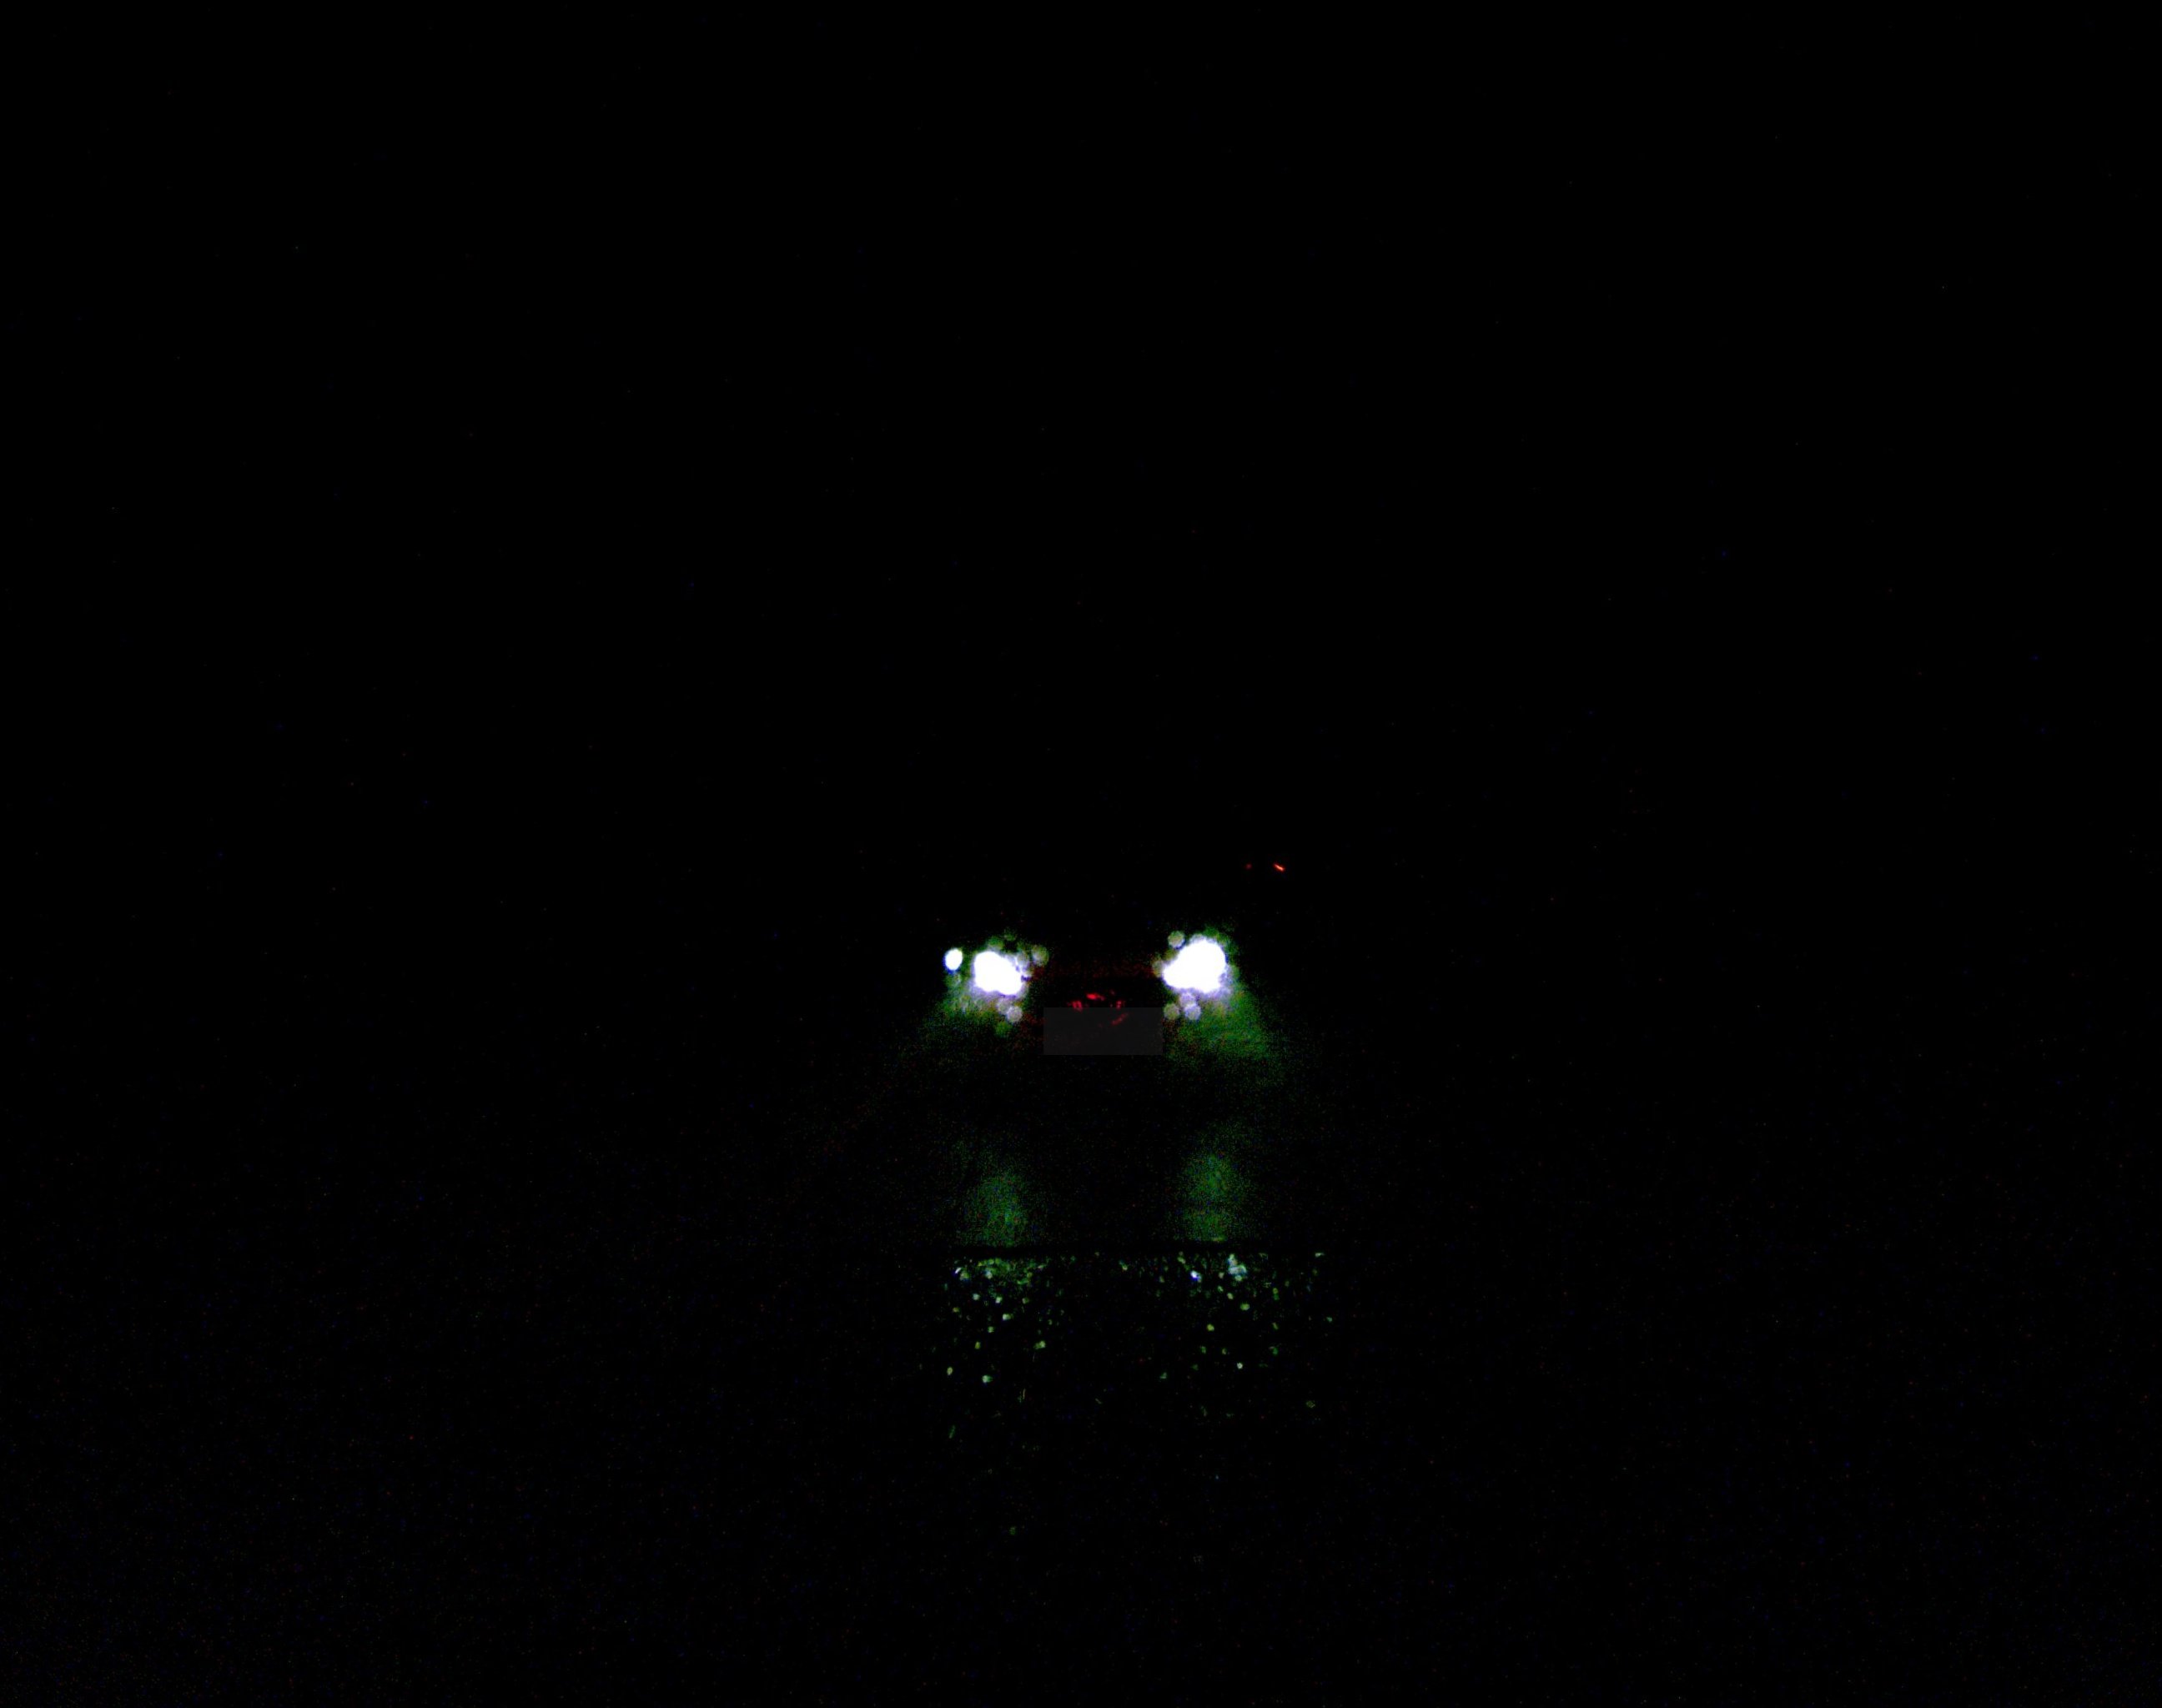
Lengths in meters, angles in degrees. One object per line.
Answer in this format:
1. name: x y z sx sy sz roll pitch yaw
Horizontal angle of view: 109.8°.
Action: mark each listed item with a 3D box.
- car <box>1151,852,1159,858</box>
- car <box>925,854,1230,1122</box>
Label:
1. car: 19.837 0.384 204.897 1.867 1.535 4.230 -2 -1 2
2. car: 0.076 0.860 7.025 1.862 1.601 4.420 -3 0 3
